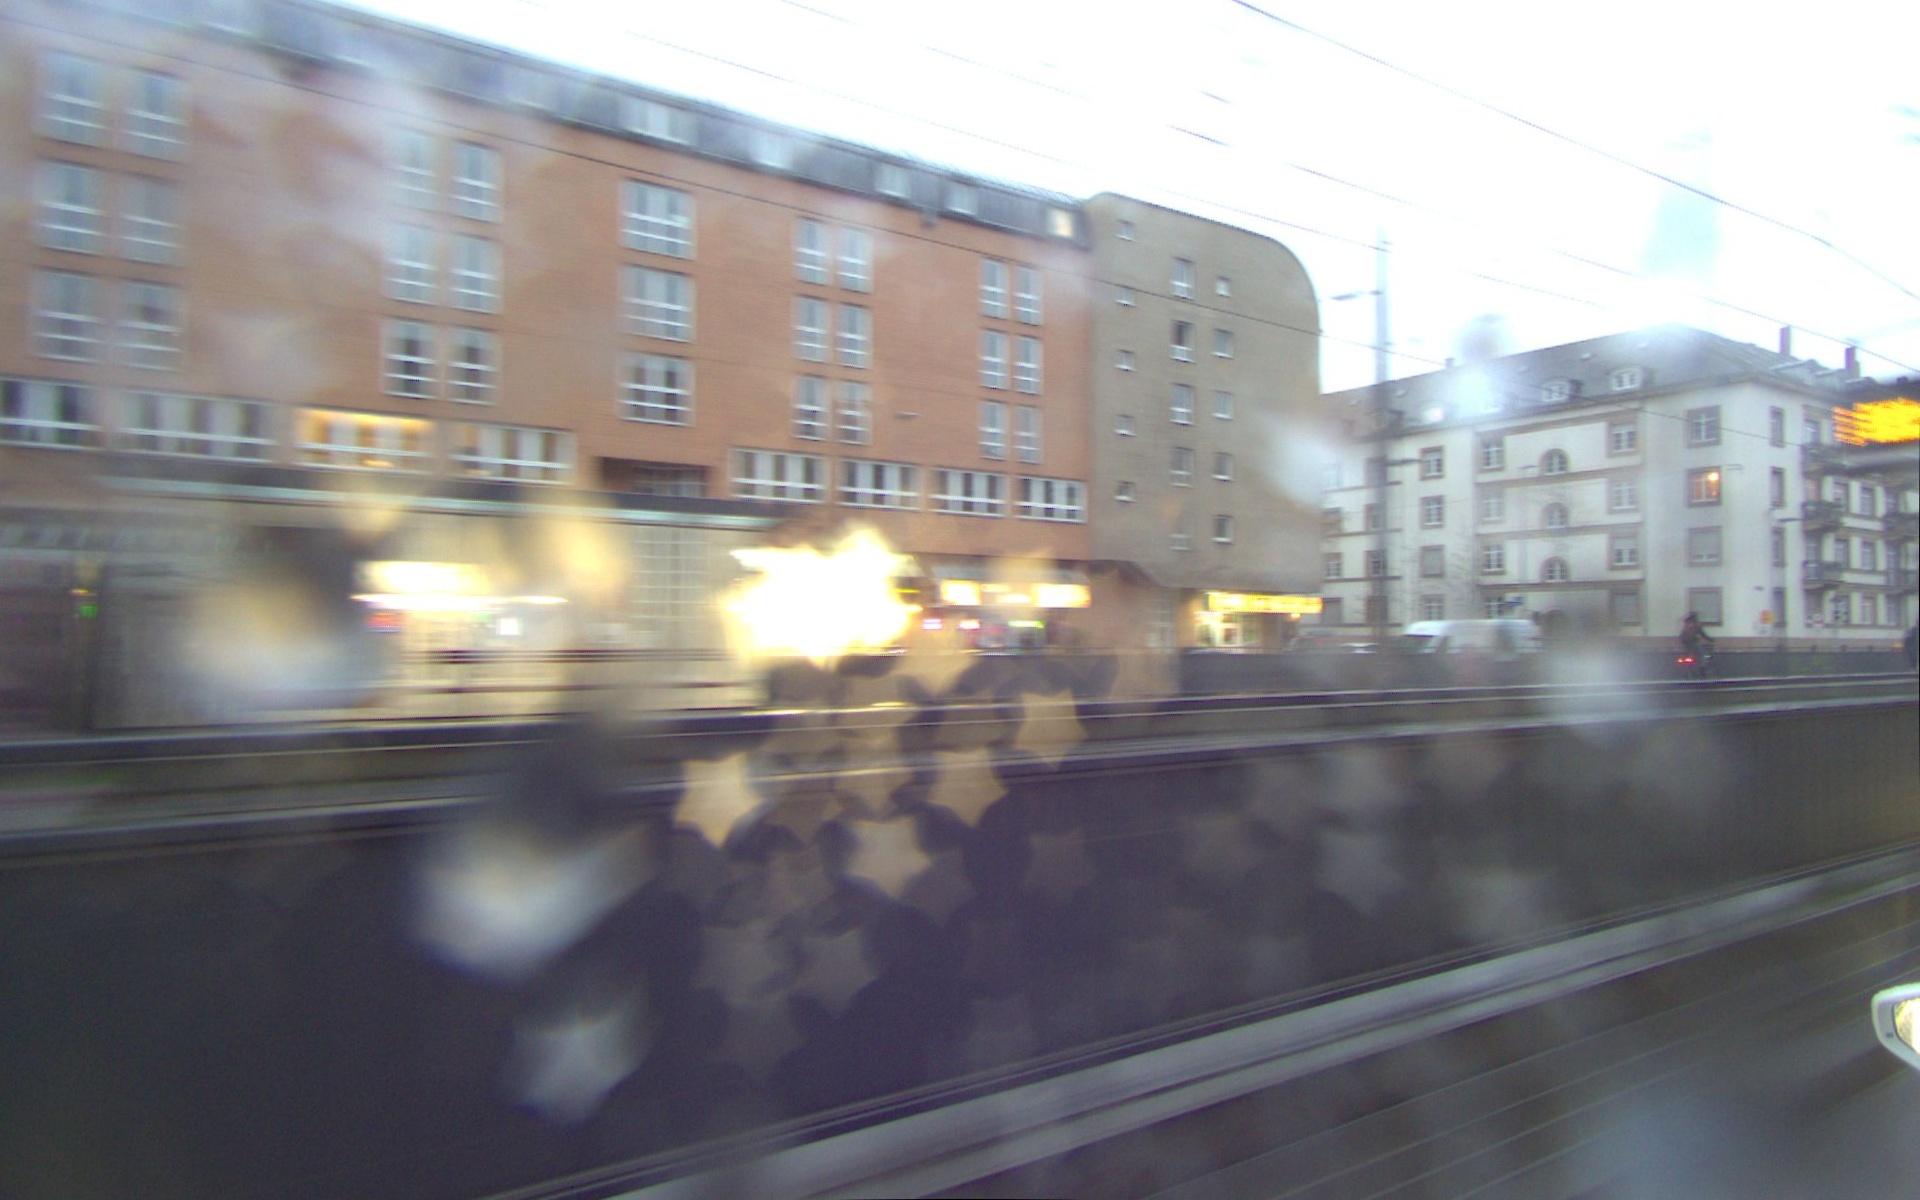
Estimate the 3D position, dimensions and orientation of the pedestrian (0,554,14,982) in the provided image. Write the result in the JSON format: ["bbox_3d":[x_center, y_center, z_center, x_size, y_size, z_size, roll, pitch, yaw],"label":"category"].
[{"bbox_3d":[-2.537,0.734,2.129,0.636,1.714,0.537,1,-2,-32],"label":"pedestrian"}]

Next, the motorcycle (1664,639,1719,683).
[{"bbox_3d":[17.996,1.484,24.712,1.788,1.021,0.509,2,0,-34],"label":"motorcycle"}]

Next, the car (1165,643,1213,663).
[{"bbox_3d":[16.288,3.751,71.410,3.282,1.443,1.445,1,-3,-34],"label":"car"}]

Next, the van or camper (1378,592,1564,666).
[{"bbox_3d":[20.033,1.142,39.379,6.654,2.718,2.768,1,-1,-21],"label":"van or camper"}]

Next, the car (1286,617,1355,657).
[{"bbox_3d":[19.342,1.979,53.833,4.112,2.061,1.727,2,-3,-41],"label":"car"}]

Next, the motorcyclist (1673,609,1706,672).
[{"bbox_3d":[17.873,0.980,24.615,0.551,1.515,0.495,1,0,-35],"label":"motorcyclist"}]

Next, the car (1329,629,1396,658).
[{"bbox_3d":[20.997,2.244,52.365,4.112,1.449,1.587,2,-3,-41],"label":"car"}]

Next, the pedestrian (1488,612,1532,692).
[{"bbox_3d":[10.951,1.023,20.009,0.624,1.544,0.756,1,0,19],"label":"pedestrian"}]

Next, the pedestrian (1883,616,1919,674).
[{"bbox_3d":[30.299,1.426,32.181,0.782,1.803,0.823,1,0,19],"label":"pedestrian"}]

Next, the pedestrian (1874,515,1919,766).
[{"bbox_3d":[6.995,0.287,7.105,0.767,1.726,0.769,0,-1,42],"label":"pedestrian"}]

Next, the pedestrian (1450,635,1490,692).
[{"bbox_3d":[10.327,1.280,20.346,0.596,1.117,0.592,1,0,17],"label":"pedestrian"}]

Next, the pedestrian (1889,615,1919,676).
[{"bbox_3d":[29.043,1.383,30.612,0.782,1.803,0.823,1,0,19],"label":"pedestrian"}]

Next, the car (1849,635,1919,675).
[{"bbox_3d":[34.877,2.024,37.415,3.505,1.372,1.673,2,-1,-31],"label":"car"}]
